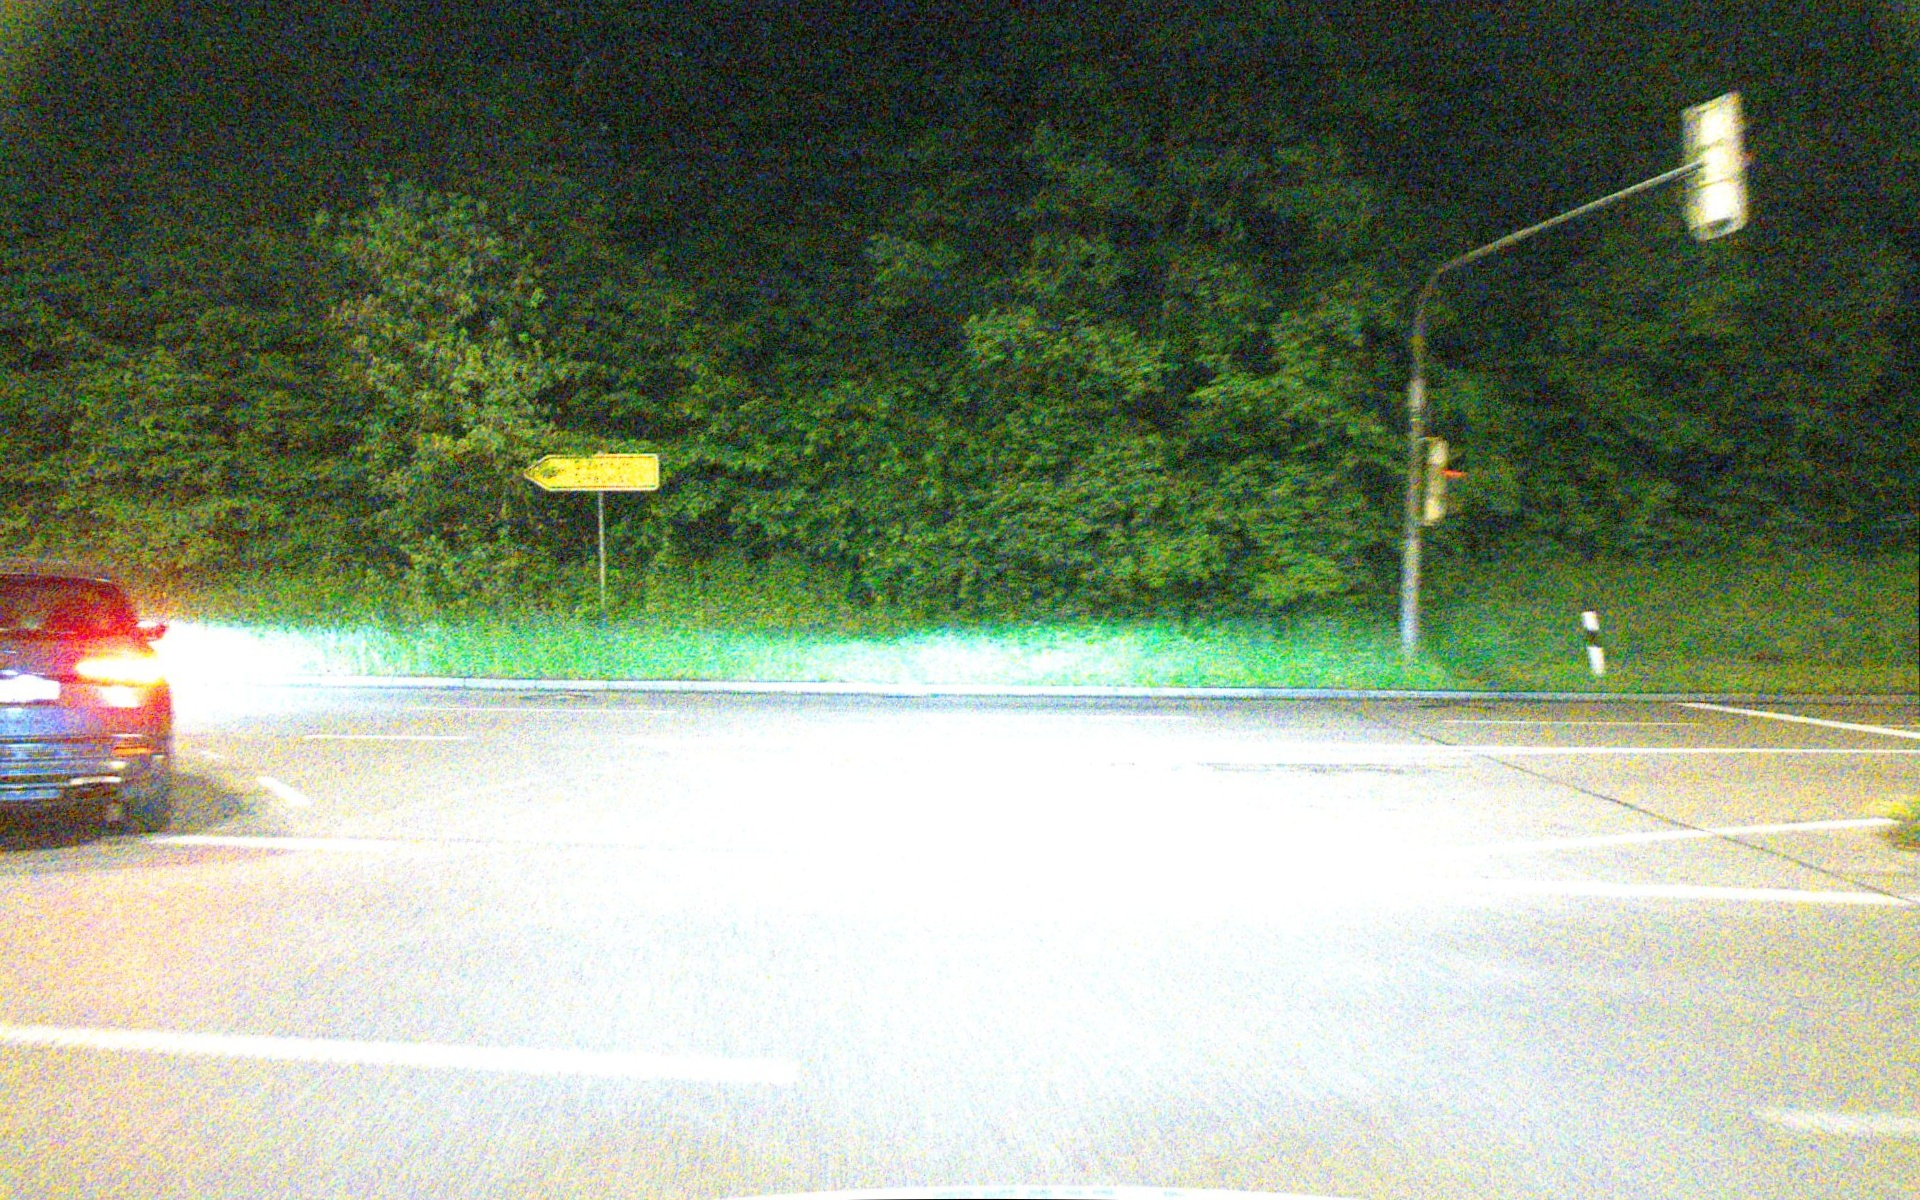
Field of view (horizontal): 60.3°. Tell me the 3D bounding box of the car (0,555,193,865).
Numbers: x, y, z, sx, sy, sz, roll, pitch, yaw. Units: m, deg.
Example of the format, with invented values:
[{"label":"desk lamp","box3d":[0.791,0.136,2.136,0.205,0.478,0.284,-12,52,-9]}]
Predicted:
[{"label":"car","box3d":[-5.926,0.535,10.312,1.831,1.610,3.969,0,1,-29]}]
